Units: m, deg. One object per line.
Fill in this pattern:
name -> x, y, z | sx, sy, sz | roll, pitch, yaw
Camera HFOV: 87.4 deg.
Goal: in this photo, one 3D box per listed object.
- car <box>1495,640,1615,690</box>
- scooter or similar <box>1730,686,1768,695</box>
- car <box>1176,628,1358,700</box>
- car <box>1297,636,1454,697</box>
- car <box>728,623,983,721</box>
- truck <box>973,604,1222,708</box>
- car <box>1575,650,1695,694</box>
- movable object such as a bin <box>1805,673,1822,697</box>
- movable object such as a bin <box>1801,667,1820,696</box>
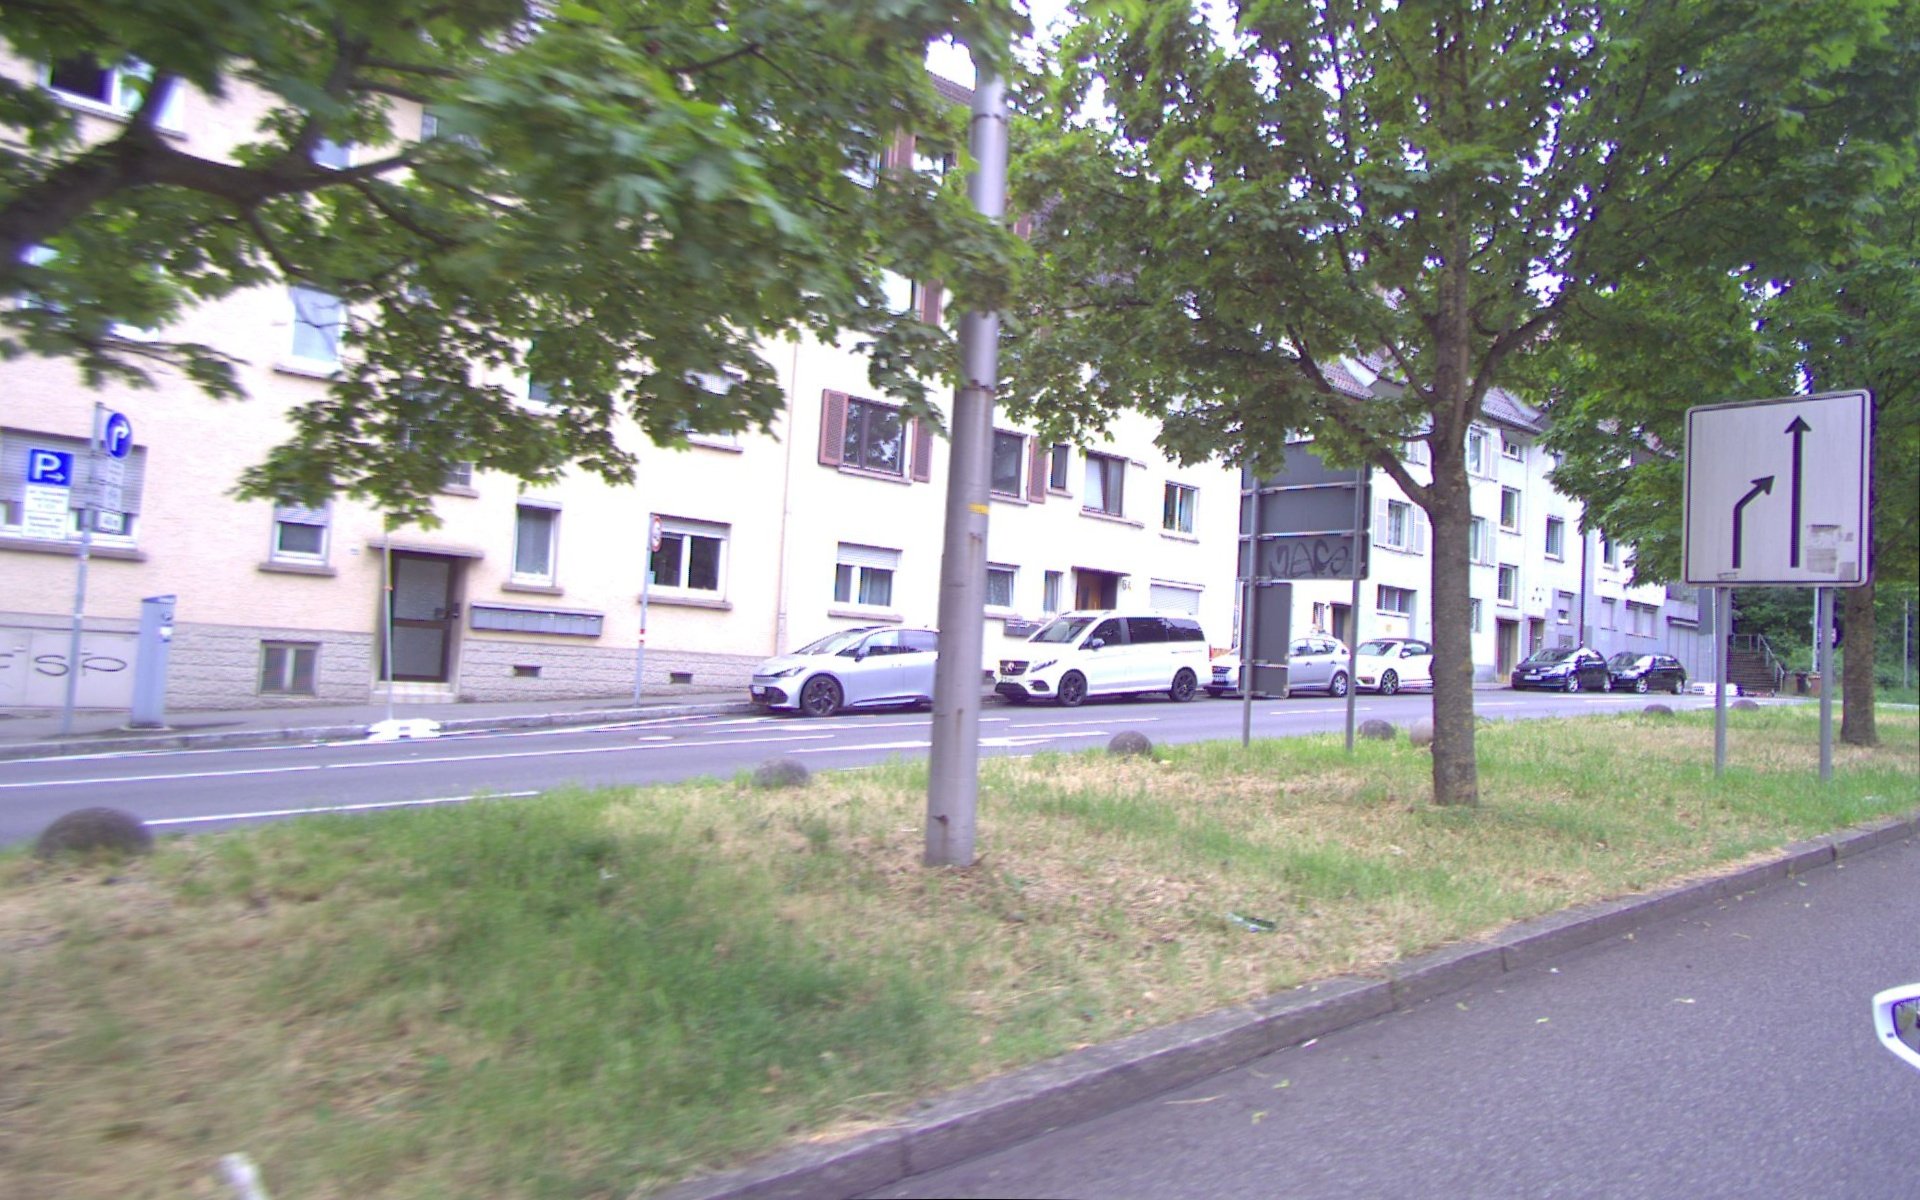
car -> 19.394, 2.127, 32.688 | 4.174, 1.441, 1.979 | 4, -4, -37
scooter or similar -> 30.716, 3.514, 39.100 | 1.111, 0.292, 1.094 | -1, -5, 41
car -> 7.474, 1.519, 24.316 | 4.338, 1.573, 1.981 | 2, -2, -35
car -> 11.211, 1.765, 27.035 | 4.114, 1.493, 1.982 | 2, -2, -33
car -> -1.832, 1.245, 18.056 | 4.116, 1.573, 1.981 | 2, -2, -35
truck -> 2.997, 1.171, 21.258 | 5.293, 1.945, 1.981 | 2, -2, -35
car -> 23.815, 2.545, 35.404 | 4.470, 1.419, 1.982 | 3, -3, -33
movable object such as a bin -> 37.627, 3.740, 44.297 | 0.510, 0.980, 0.442 | 4, -1, 42
movable object such as a bin -> 37.913, 3.635, 44.776 | 0.598, 1.201, 0.490 | 4, -1, 42
